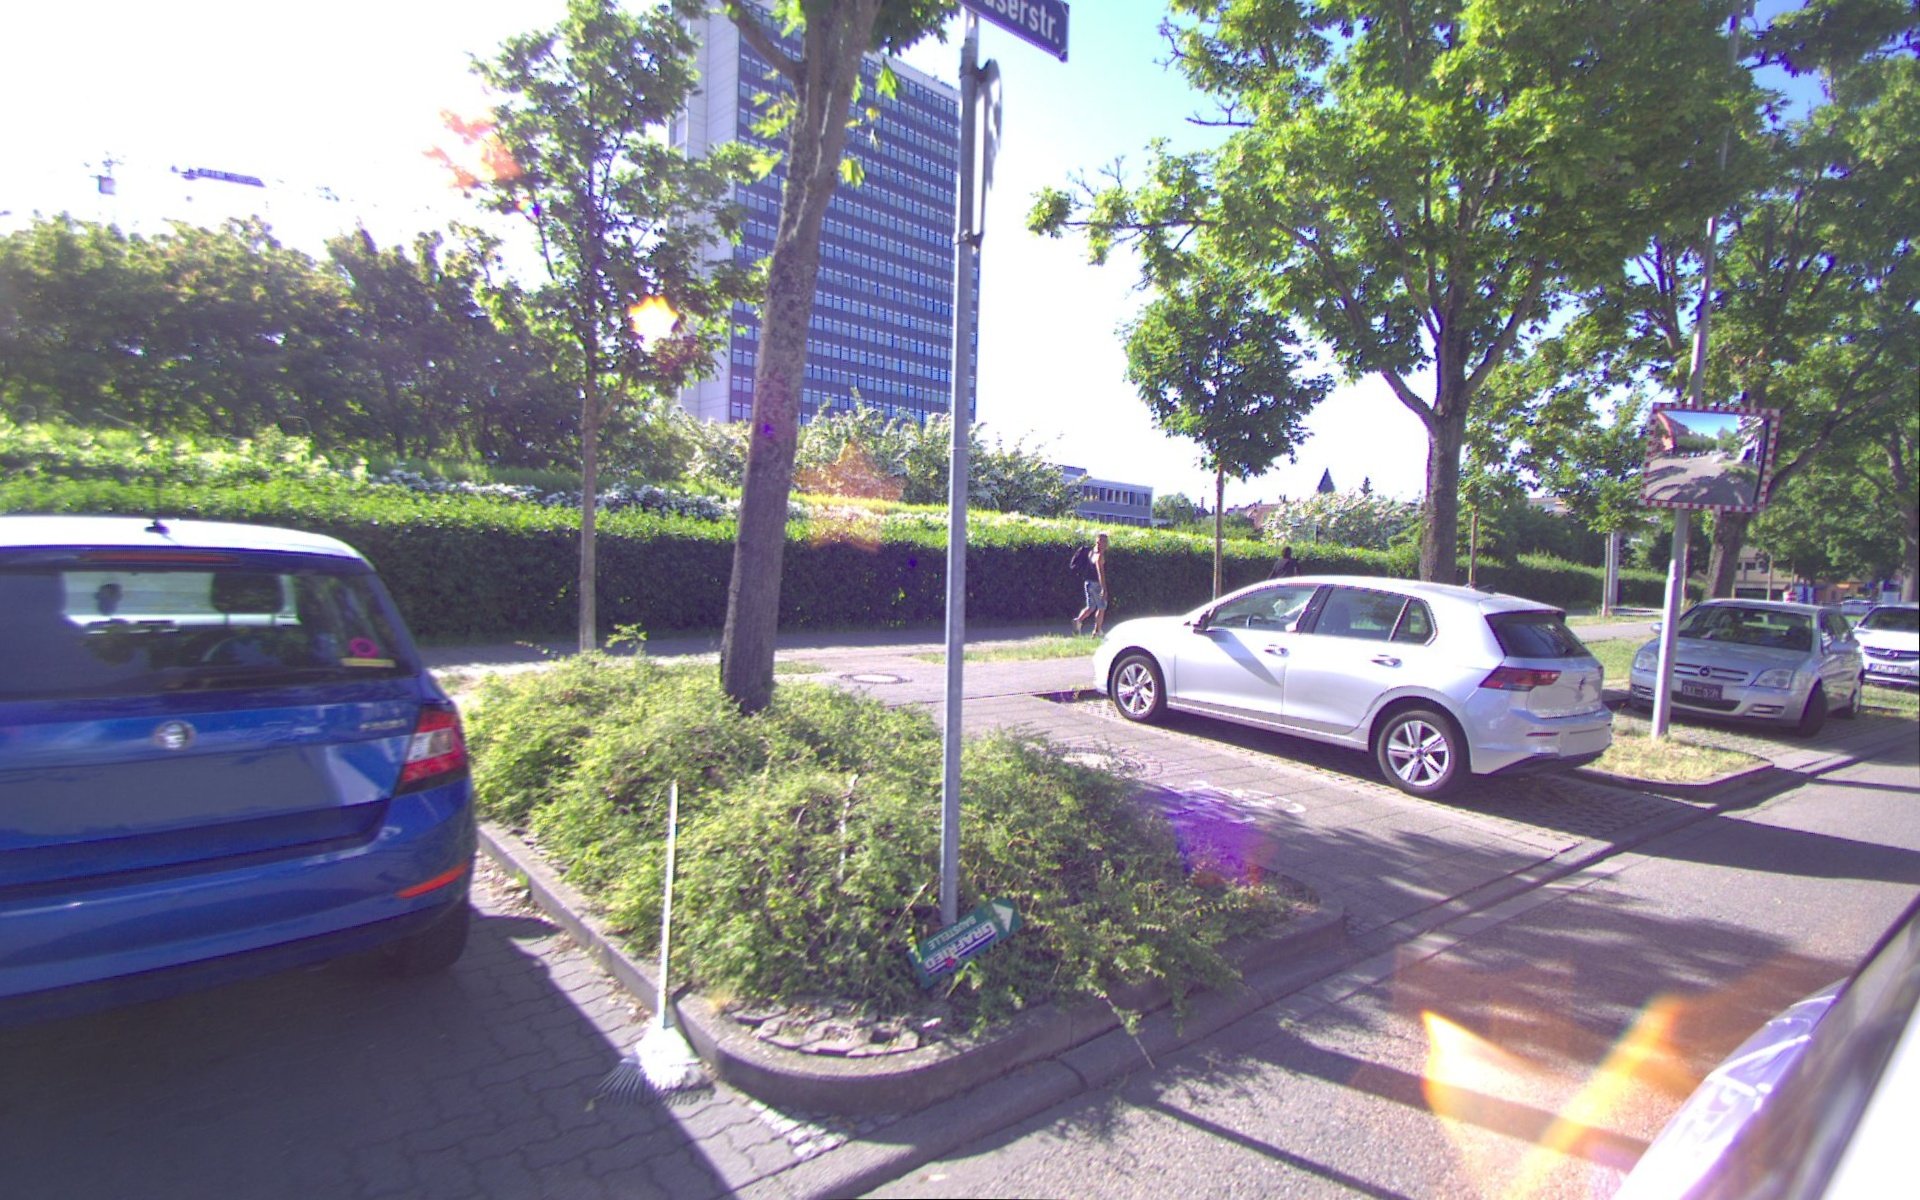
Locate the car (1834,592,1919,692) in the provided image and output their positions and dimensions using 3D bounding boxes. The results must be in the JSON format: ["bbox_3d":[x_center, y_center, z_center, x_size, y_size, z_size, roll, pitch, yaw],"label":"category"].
[{"bbox_3d":[16.676,0.698,17.360,3.694,1.511,1.649,0,5,-36],"label":"car"}]

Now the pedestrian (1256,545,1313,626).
[{"bbox_3d":[6.638,-0.301,20.701,0.838,1.607,0.725,0,2,-41],"label":"pedestrian"}]

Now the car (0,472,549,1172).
[{"bbox_3d":[-3.088,0.317,3.803,1.714,1.465,3.816,-1,7,-41],"label":"car"}]

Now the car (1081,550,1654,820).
[{"bbox_3d":[3.035,0.452,8.396,1.612,1.446,4.105,0,5,-36],"label":"car"}]

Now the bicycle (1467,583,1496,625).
[{"bbox_3d":[11.384,0.075,22.089,0.345,0.877,1.392,4,3,34],"label":"bicycle"}]

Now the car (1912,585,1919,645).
[{"bbox_3d":[26.684,0.551,25.554,1.594,1.562,3.453,1,5,-30],"label":"car"}]

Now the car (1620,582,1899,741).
[{"bbox_3d":[10.106,0.619,12.662,4.542,1.511,1.814,0,5,-41],"label":"car"}]

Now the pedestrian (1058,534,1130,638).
[{"bbox_3d":[2.089,-0.228,15.742,0.920,1.561,0.608,0,2,-39],"label":"pedestrian"}]
